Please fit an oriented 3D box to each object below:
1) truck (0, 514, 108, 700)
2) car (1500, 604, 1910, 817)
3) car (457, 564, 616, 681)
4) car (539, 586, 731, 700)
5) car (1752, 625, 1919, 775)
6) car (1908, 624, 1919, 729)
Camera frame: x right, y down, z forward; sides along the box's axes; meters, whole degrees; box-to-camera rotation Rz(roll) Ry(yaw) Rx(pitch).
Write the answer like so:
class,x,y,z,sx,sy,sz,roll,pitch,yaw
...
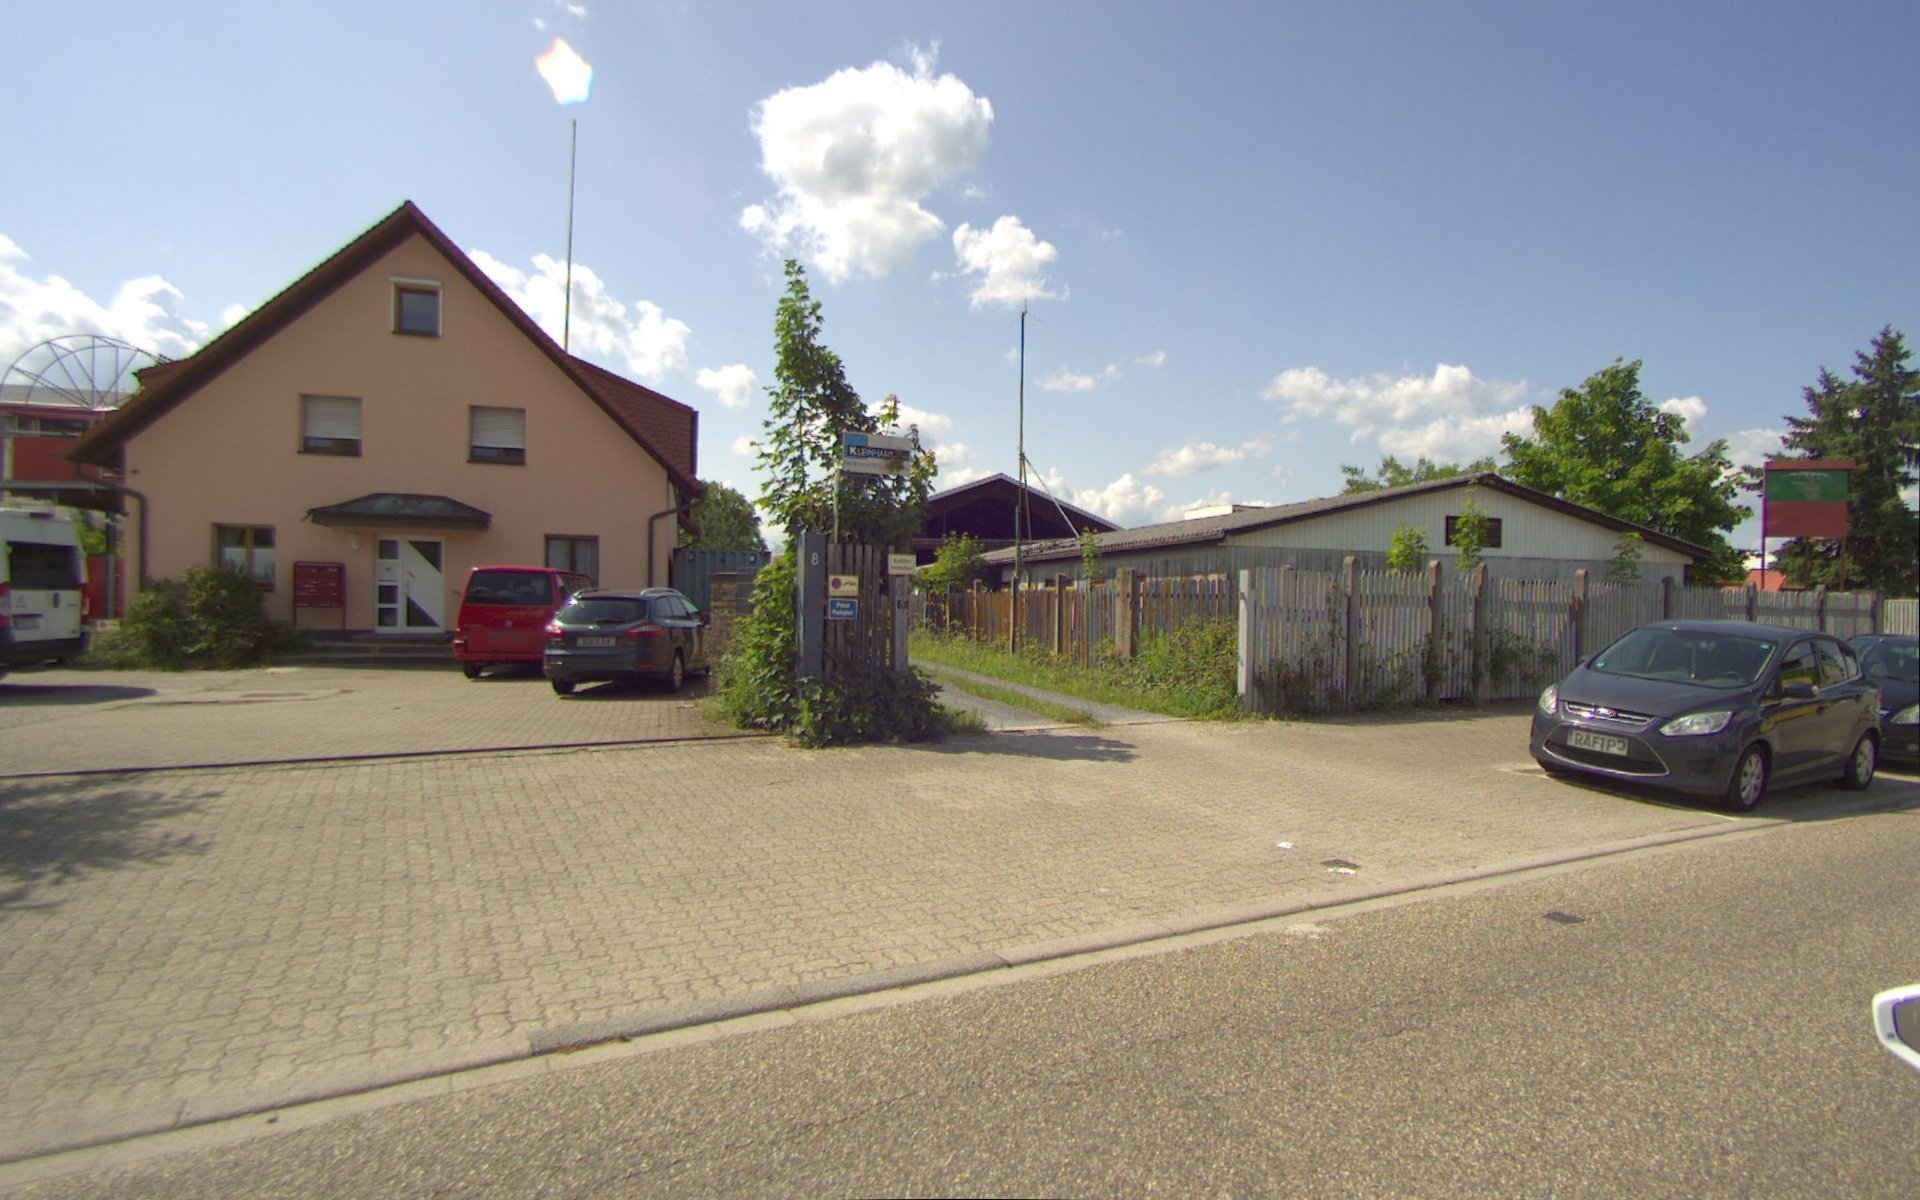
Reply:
class,x,y,z,sx,sy,sz,roll,pitch,yaw
truck,-15.743,0.058,13.894,5.626,2.521,2.110,1,0,-16
car,7.524,0.934,10.044,4.364,1.626,1.715,1,3,-32
car,-7.726,0.381,18.731,1.706,1.924,3.995,1,0,-7
car,-4.869,0.584,15.651,1.859,1.535,3.998,0,0,-3
car,11.793,1.132,12.517,3.980,1.468,1.619,1,4,-31
car,16.556,1.190,15.332,4.686,1.538,1.724,0,3,-30
